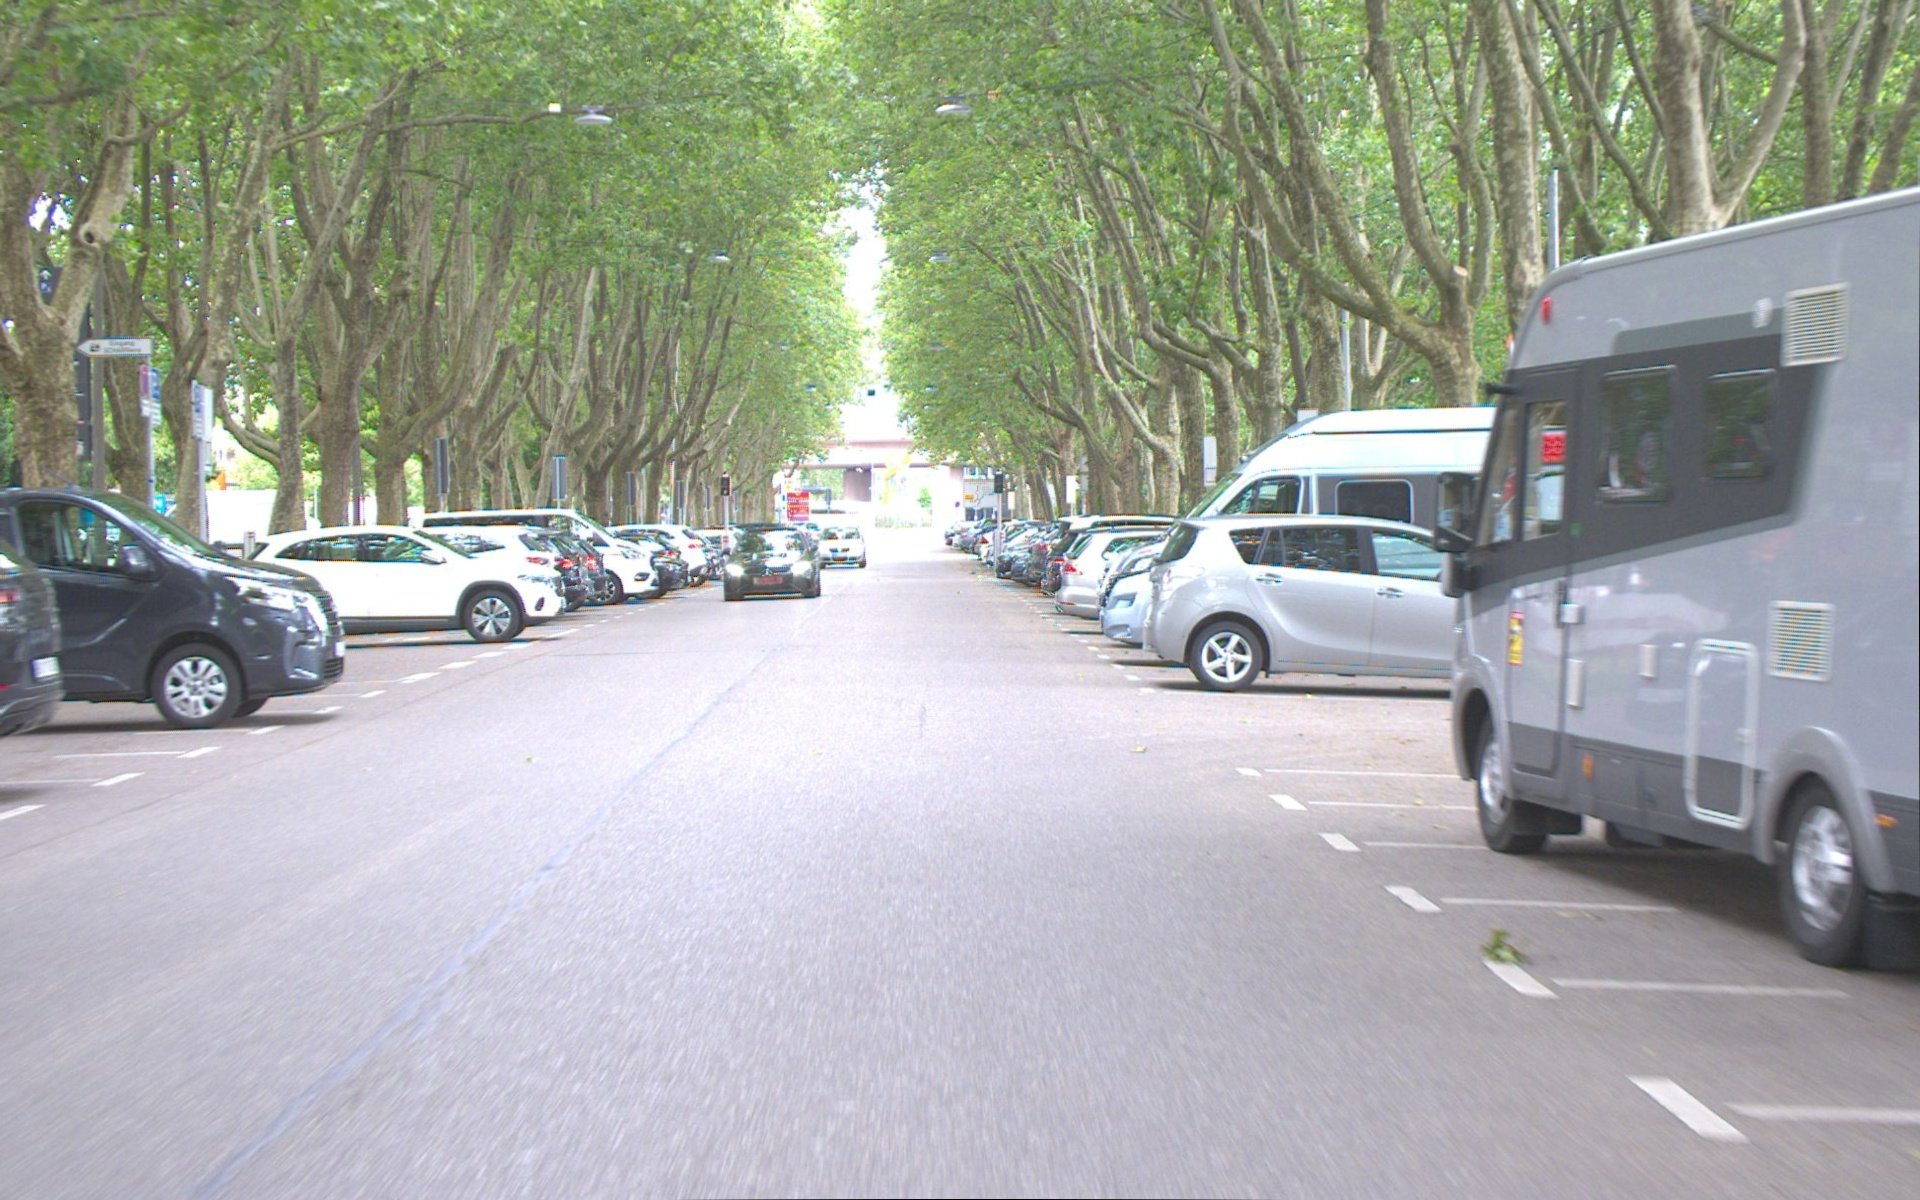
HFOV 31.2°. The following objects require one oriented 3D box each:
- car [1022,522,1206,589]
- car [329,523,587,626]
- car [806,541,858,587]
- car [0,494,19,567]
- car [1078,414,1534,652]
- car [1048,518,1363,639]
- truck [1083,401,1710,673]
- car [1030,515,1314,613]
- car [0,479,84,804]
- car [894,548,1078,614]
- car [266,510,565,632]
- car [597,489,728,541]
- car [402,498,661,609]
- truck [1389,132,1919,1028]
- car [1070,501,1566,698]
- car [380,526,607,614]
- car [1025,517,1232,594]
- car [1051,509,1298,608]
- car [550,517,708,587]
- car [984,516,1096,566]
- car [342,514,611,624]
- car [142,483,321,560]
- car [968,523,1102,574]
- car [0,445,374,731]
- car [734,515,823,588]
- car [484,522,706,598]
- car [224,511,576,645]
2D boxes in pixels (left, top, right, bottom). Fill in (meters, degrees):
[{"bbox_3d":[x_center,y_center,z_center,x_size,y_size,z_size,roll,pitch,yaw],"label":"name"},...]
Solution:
[{"bbox_3d":[3.295,-0.976,74.195,3.826,1.384,1.695,1,1,-2],"label":"car"},{"bbox_3d":[-8.230,-0.441,56.629,3.986,1.470,1.843,-3,1,-3],"label":"car"},{"bbox_3d":[-4.350,-1.238,117.005,1.689,1.466,3.840,-2,1,-2],"label":"car"},{"bbox_3d":[-35.980,-2.444,119.530,6.001,2.518,2.000,1,1,-1],"label":"car"},{"bbox_3d":[4.098,-0.811,41.387,5.228,2.680,1.957,1,1,0],"label":"car"},{"bbox_3d":[3.283,-0.299,46.555,4.119,1.424,1.703,3,1,1],"label":"car"},{"bbox_3d":[4.512,-0.668,36.271,6.293,2.705,2.098,1,1,-1],"label":"truck"},{"bbox_3d":[3.468,-0.607,56.794,4.501,1.520,1.703,1,1,-2],"label":"car"},{"bbox_3d":[-7.684,0.290,20.021,4.653,1.814,1.806,-2,2,-1],"label":"car"},{"bbox_3d":[0.580,-0.451,80.185,4.211,1.446,1.611,1,1,-2],"label":"car"},{"bbox_3d":[-8.463,-0.470,53.749,4.340,1.662,2.000,-3,1,-2],"label":"car"},{"bbox_3d":[-8.934,-2.545,103.401,3.826,1.425,1.695,-2,1,-3],"label":"car"},{"bbox_3d":[-8.522,-0.928,68.682,4.893,2.012,1.920,-2,1,-1],"label":"car"},{"bbox_3d":[3.986,-0.115,13.682,2.458,2.927,7.541,1,1,-9],"label":"truck"},{"bbox_3d":[3.203,-0.023,31.392,4.340,1.612,1.803,2,1,2],"label":"car"},{"bbox_3d":[-8.628,-0.571,63.800,3.986,1.408,1.683,-3,1,-2],"label":"car"},{"bbox_3d":[3.357,-0.900,68.879,3.986,1.481,1.695,1,1,-2],"label":"car"},{"bbox_3d":[3.945,-0.787,63.820,4.384,1.749,1.801,1,1,-2],"label":"car"},{"bbox_3d":[-8.255,-1.214,86.051,3.826,1.622,1.953,-2,1,-3],"label":"car"},{"bbox_3d":[2.707,-2.007,116.600,3.645,1.661,1.519,1,1,-4],"label":"car"},{"bbox_3d":[-8.292,-0.553,59.256,4.340,1.662,2.000,-3,1,-2],"label":"car"},{"bbox_3d":[-25.296,-2.720,119.493,5.786,2.588,2.000,1,1,0],"label":"car"},{"bbox_3d":[2.423,-1.682,111.207,4.166,1.591,1.855,1,1,-4],"label":"car"},{"bbox_3d":[-7.598,-0.073,27.550,5.435,2.120,1.940,-2,2,-2],"label":"car"},{"bbox_3d":[-3.699,-1.001,69.513,1.654,1.359,4.113,-3,1,-4],"label":"car"},{"bbox_3d":[-7.811,-0.870,73.857,4.449,1.447,1.774,-2,1,4],"label":"car"},{"bbox_3d":[-7.425,-0.318,45.942,4.379,1.591,2.000,-2,1,-2],"label":"car"}]
